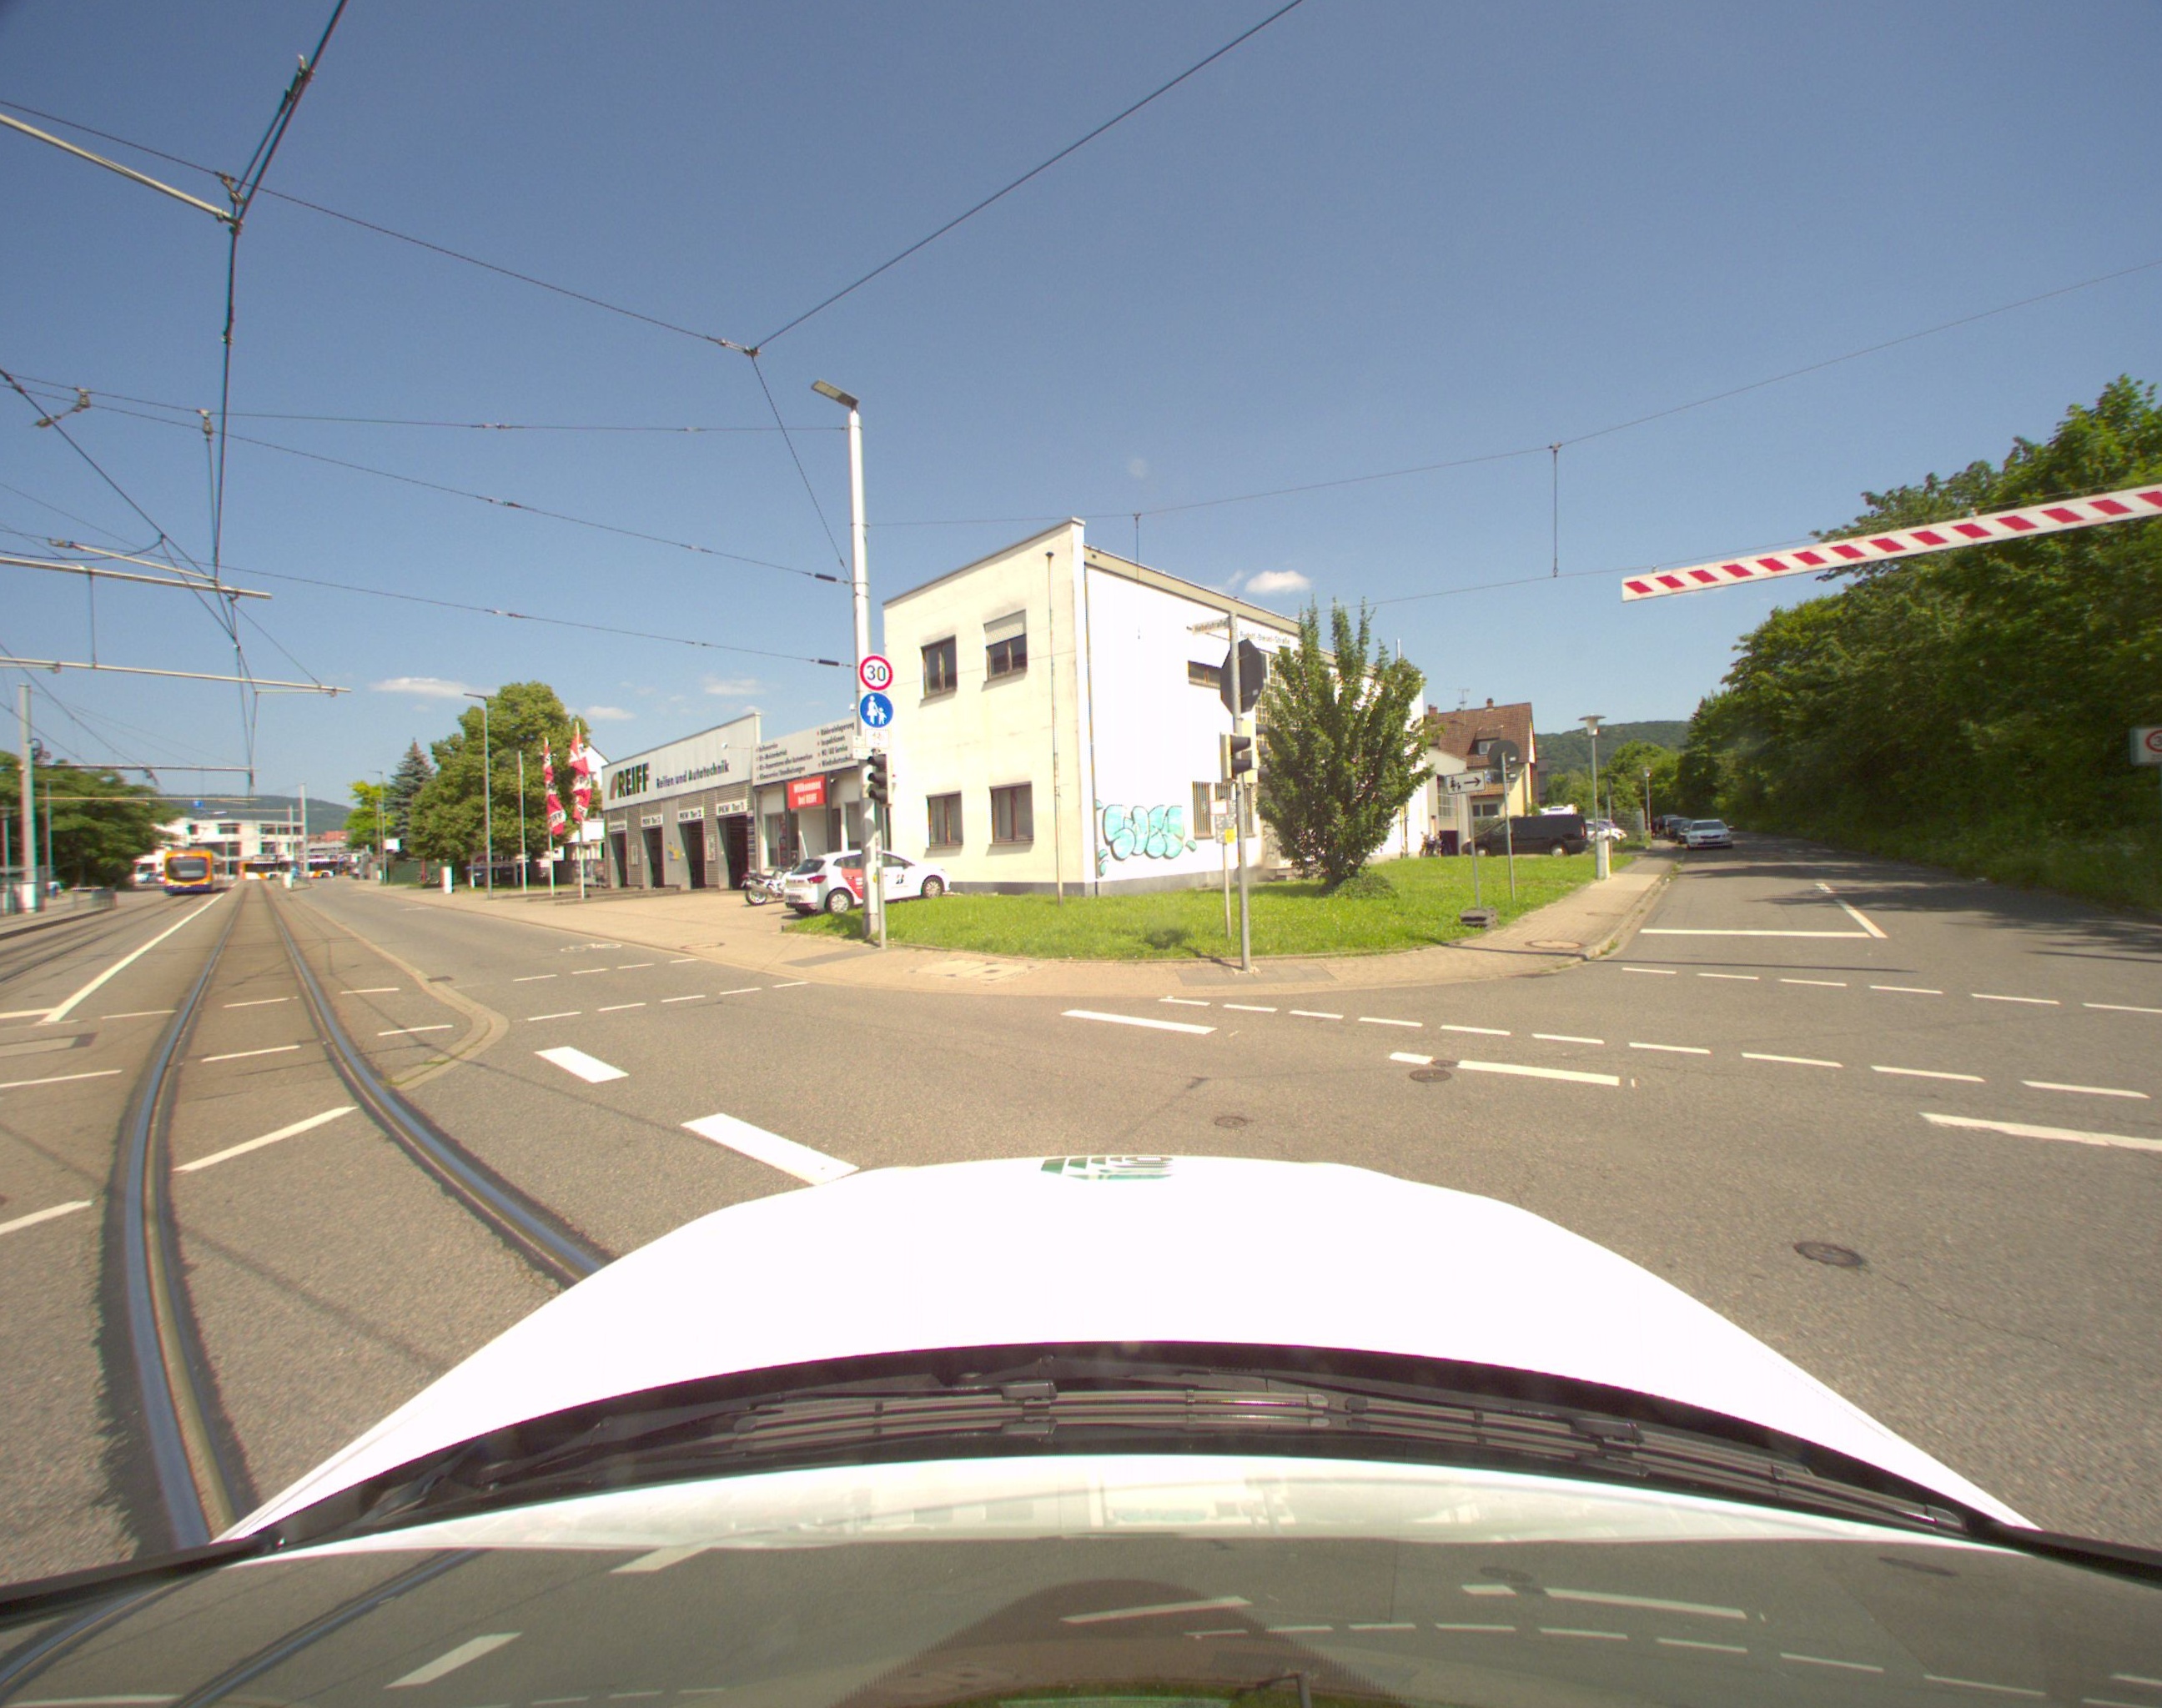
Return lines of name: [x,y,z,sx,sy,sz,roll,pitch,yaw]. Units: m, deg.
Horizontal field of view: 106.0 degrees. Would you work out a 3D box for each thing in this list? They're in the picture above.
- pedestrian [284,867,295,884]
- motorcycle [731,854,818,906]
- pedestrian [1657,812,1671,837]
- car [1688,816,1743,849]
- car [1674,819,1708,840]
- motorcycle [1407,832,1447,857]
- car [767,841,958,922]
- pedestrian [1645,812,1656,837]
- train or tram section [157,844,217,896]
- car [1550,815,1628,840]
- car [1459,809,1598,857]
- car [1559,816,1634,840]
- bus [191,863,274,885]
pedestrian: [-80.674,2.198,82.992,0.718,1.740,0.750,-1,1,44]
motorcycle: [-9.022,0.752,24.033,0.722,1.308,2.204,-3,3,43]
pedestrian: [42.833,-2.173,59.820,0.867,1.762,0.735,0,0,37]
car: [31.973,-1.094,41.099,2.066,1.510,4.569,-1,1,37]
car: [44.300,-1.764,59.115,1.893,1.399,3.757,-1,2,38]
motorcycle: [14.628,-0.390,34.400,0.843,1.032,2.583,0,0,40]
car: [-5.213,0.591,19.839,1.866,1.462,4.026,-2,4,43]
pedestrian: [42.166,-2.172,60.263,0.647,1.762,0.809,0,0,37]
train or tram section: [-64.879,1.142,59.206,5.670,3.532,2.635,-1,1,44]
car: [29.543,-1.516,47.404,3.685,1.371,1.614,0,0,39]
car: [20.094,-0.905,36.682,5.196,1.816,2.013,-2,0,36]
car: [31.293,-1.548,49.434,3.685,1.371,1.614,0,1,39]
bus: [-131.158,3.052,125.995,2.413,2.879,8.846,-1,0,43]
